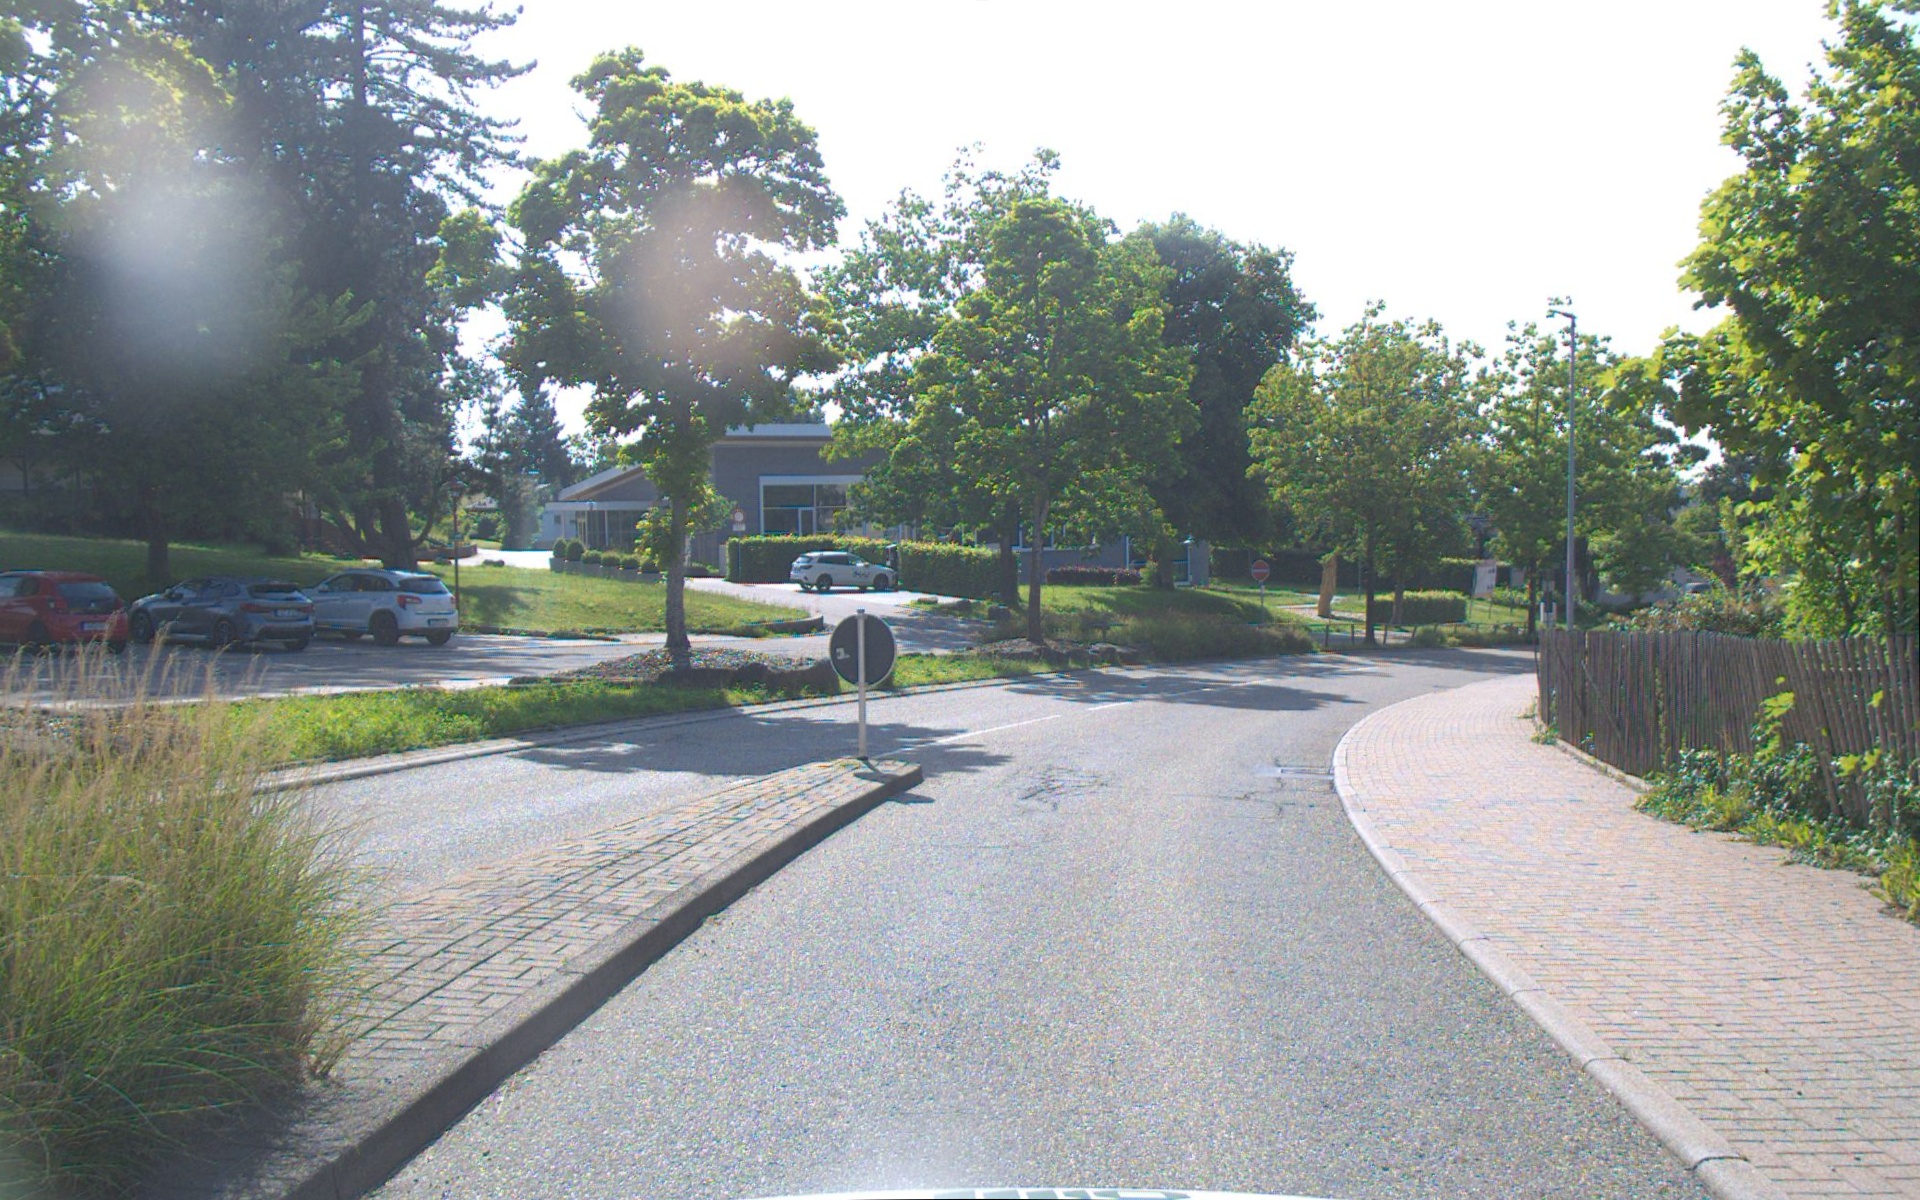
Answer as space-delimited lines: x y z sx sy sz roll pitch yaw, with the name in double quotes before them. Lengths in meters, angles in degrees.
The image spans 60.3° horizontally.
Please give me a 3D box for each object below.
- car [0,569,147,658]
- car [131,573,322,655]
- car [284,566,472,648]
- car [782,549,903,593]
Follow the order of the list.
"car" -16.894 0.223 30.554 3.135 1.496 1.775 2 1 25
"car" -14.777 0.260 33.294 3.635 1.458 1.772 3 1 32
"car" -13.018 0.131 36.982 3.852 1.637 1.774 2 1 27
"car" -4.890 -1.234 68.964 4.667 1.560 1.981 -2 6 -31
